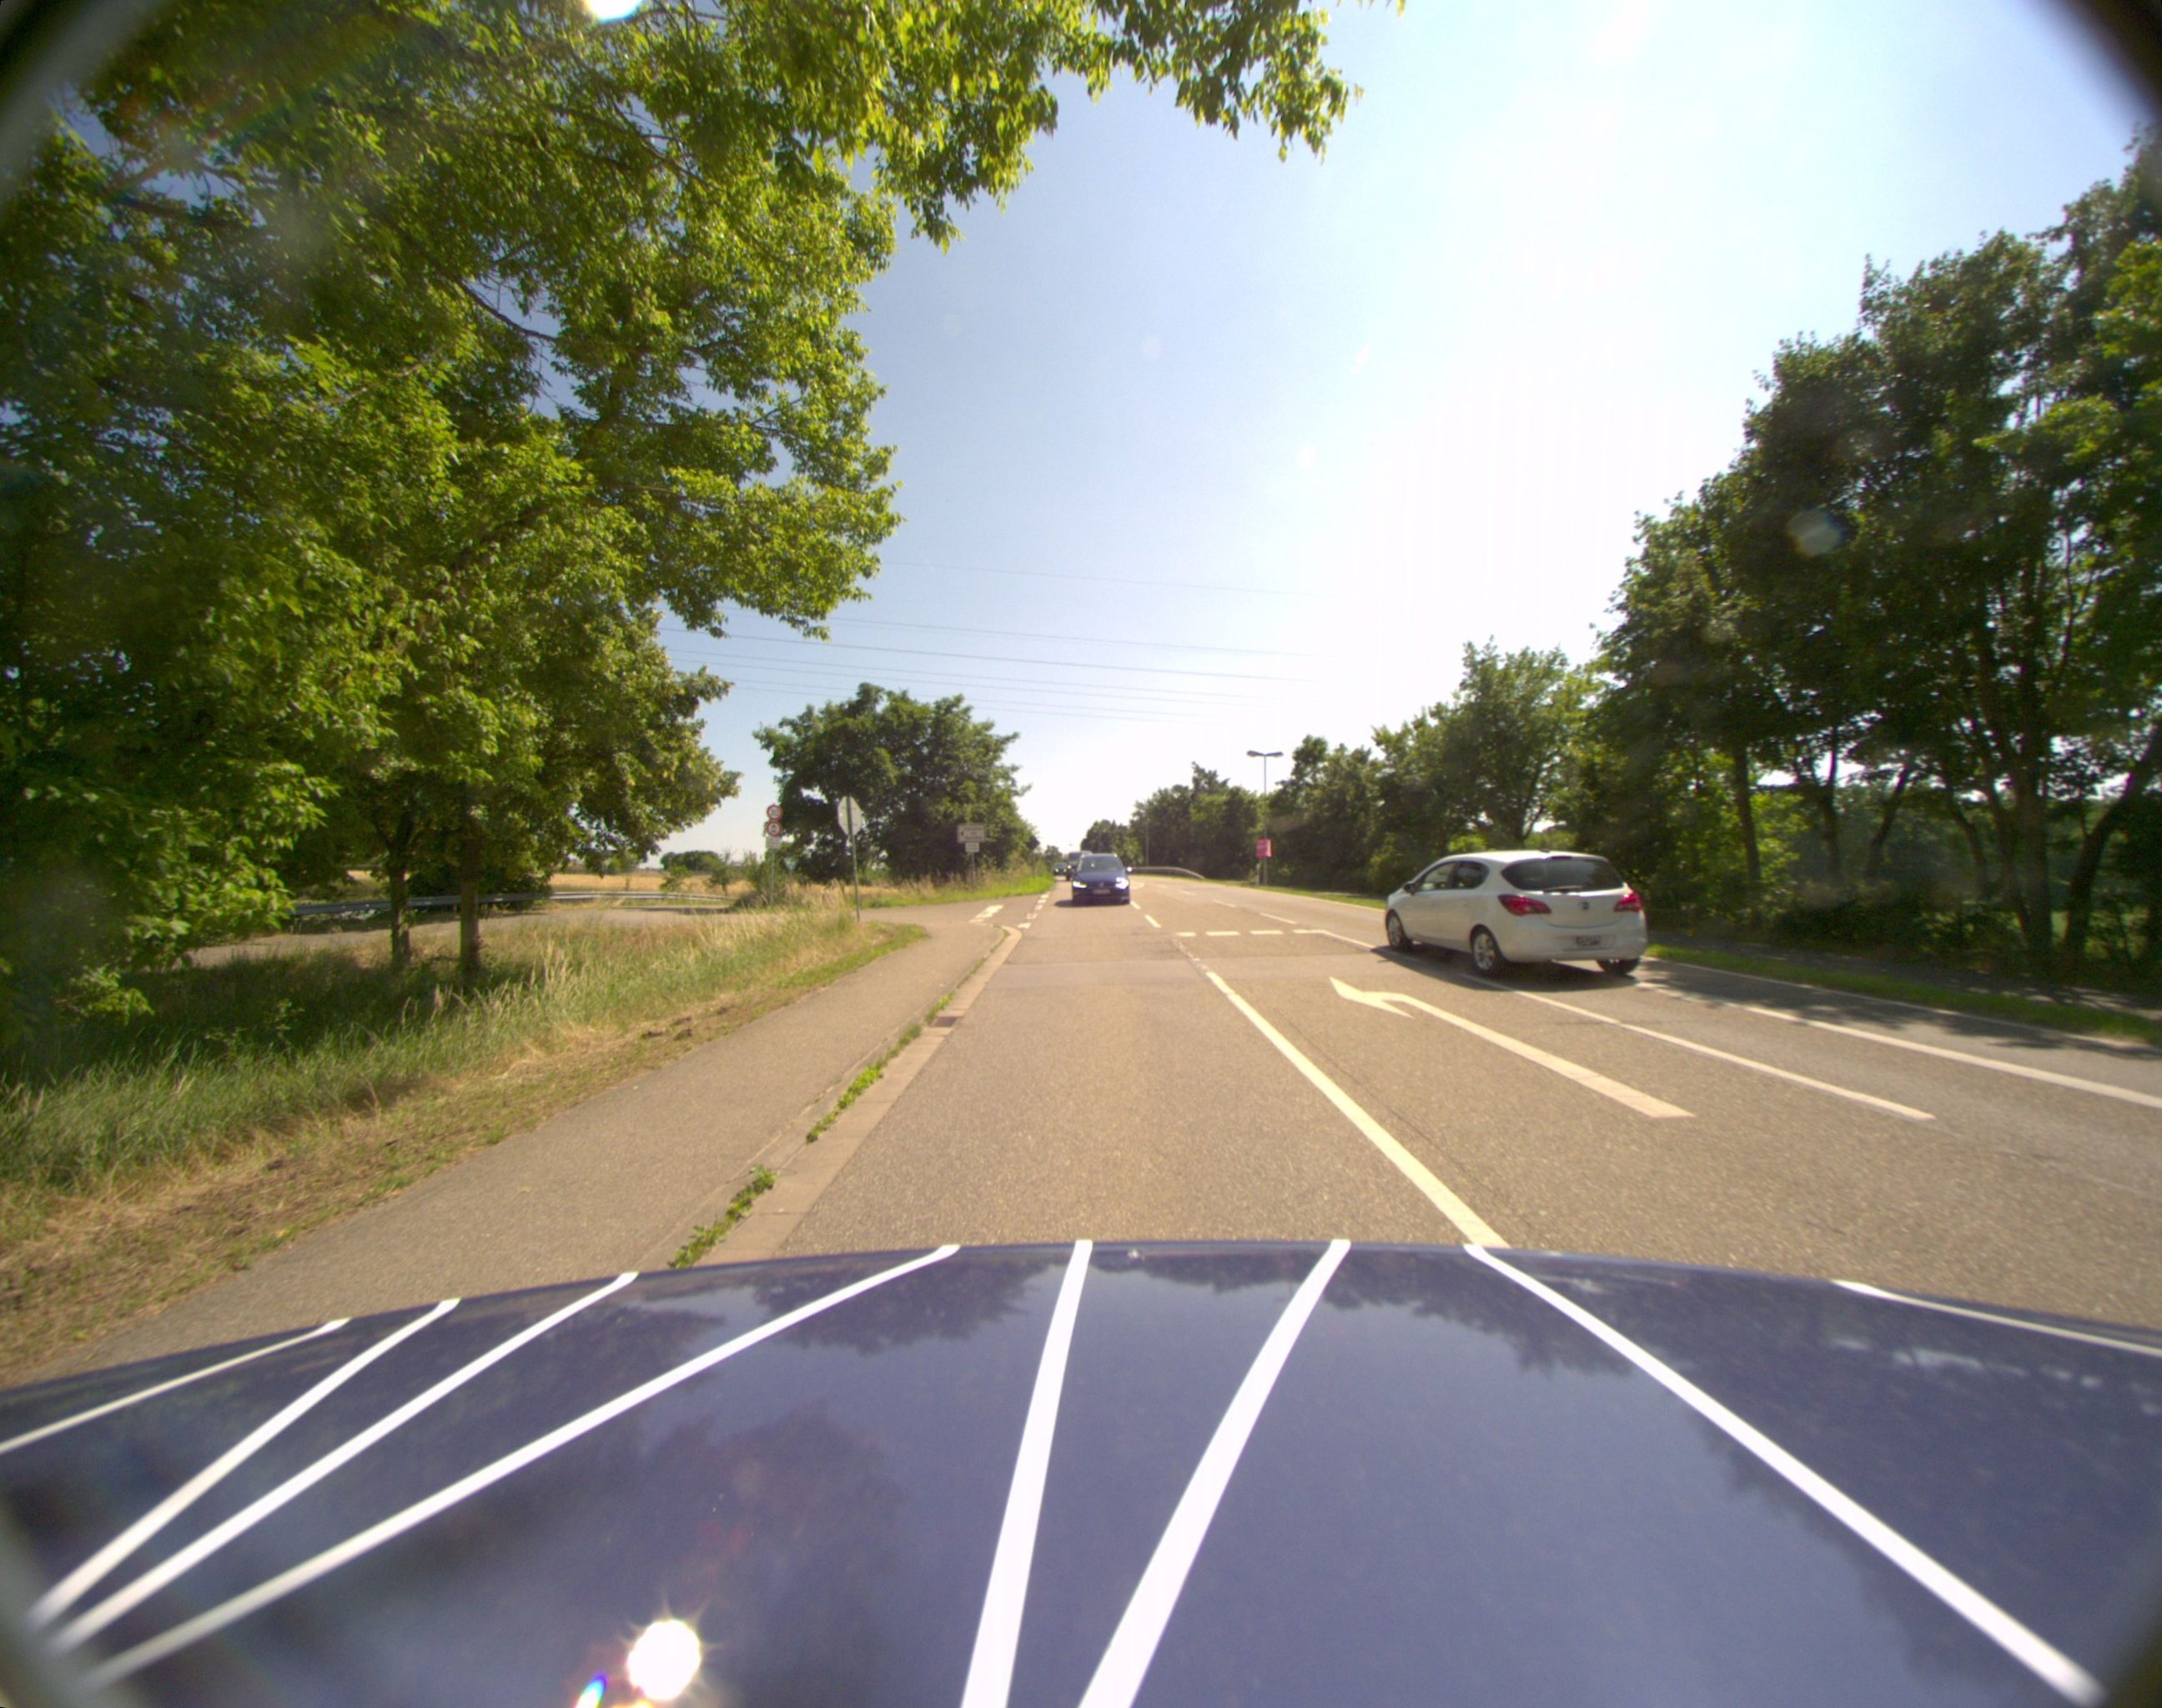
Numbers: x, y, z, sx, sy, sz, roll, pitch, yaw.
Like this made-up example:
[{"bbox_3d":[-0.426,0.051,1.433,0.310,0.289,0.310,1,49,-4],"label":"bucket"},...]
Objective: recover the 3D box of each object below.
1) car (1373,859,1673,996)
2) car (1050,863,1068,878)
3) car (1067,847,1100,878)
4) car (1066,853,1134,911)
[{"bbox_3d":[5.442,0.792,10.013,1.653,1.425,3.896,-1,0,0],"label":"car"},{"bbox_3d":[-2.627,1.943,89.807,1.766,1.530,3.682,-2,1,-8],"label":"car"},{"bbox_3d":[0.100,0.605,50.490,1.765,1.953,4.261,-2,-1,-5],"label":"car"},{"bbox_3d":[0.495,0.793,23.787,1.765,1.520,4.420,-2,1,-3],"label":"car"}]
